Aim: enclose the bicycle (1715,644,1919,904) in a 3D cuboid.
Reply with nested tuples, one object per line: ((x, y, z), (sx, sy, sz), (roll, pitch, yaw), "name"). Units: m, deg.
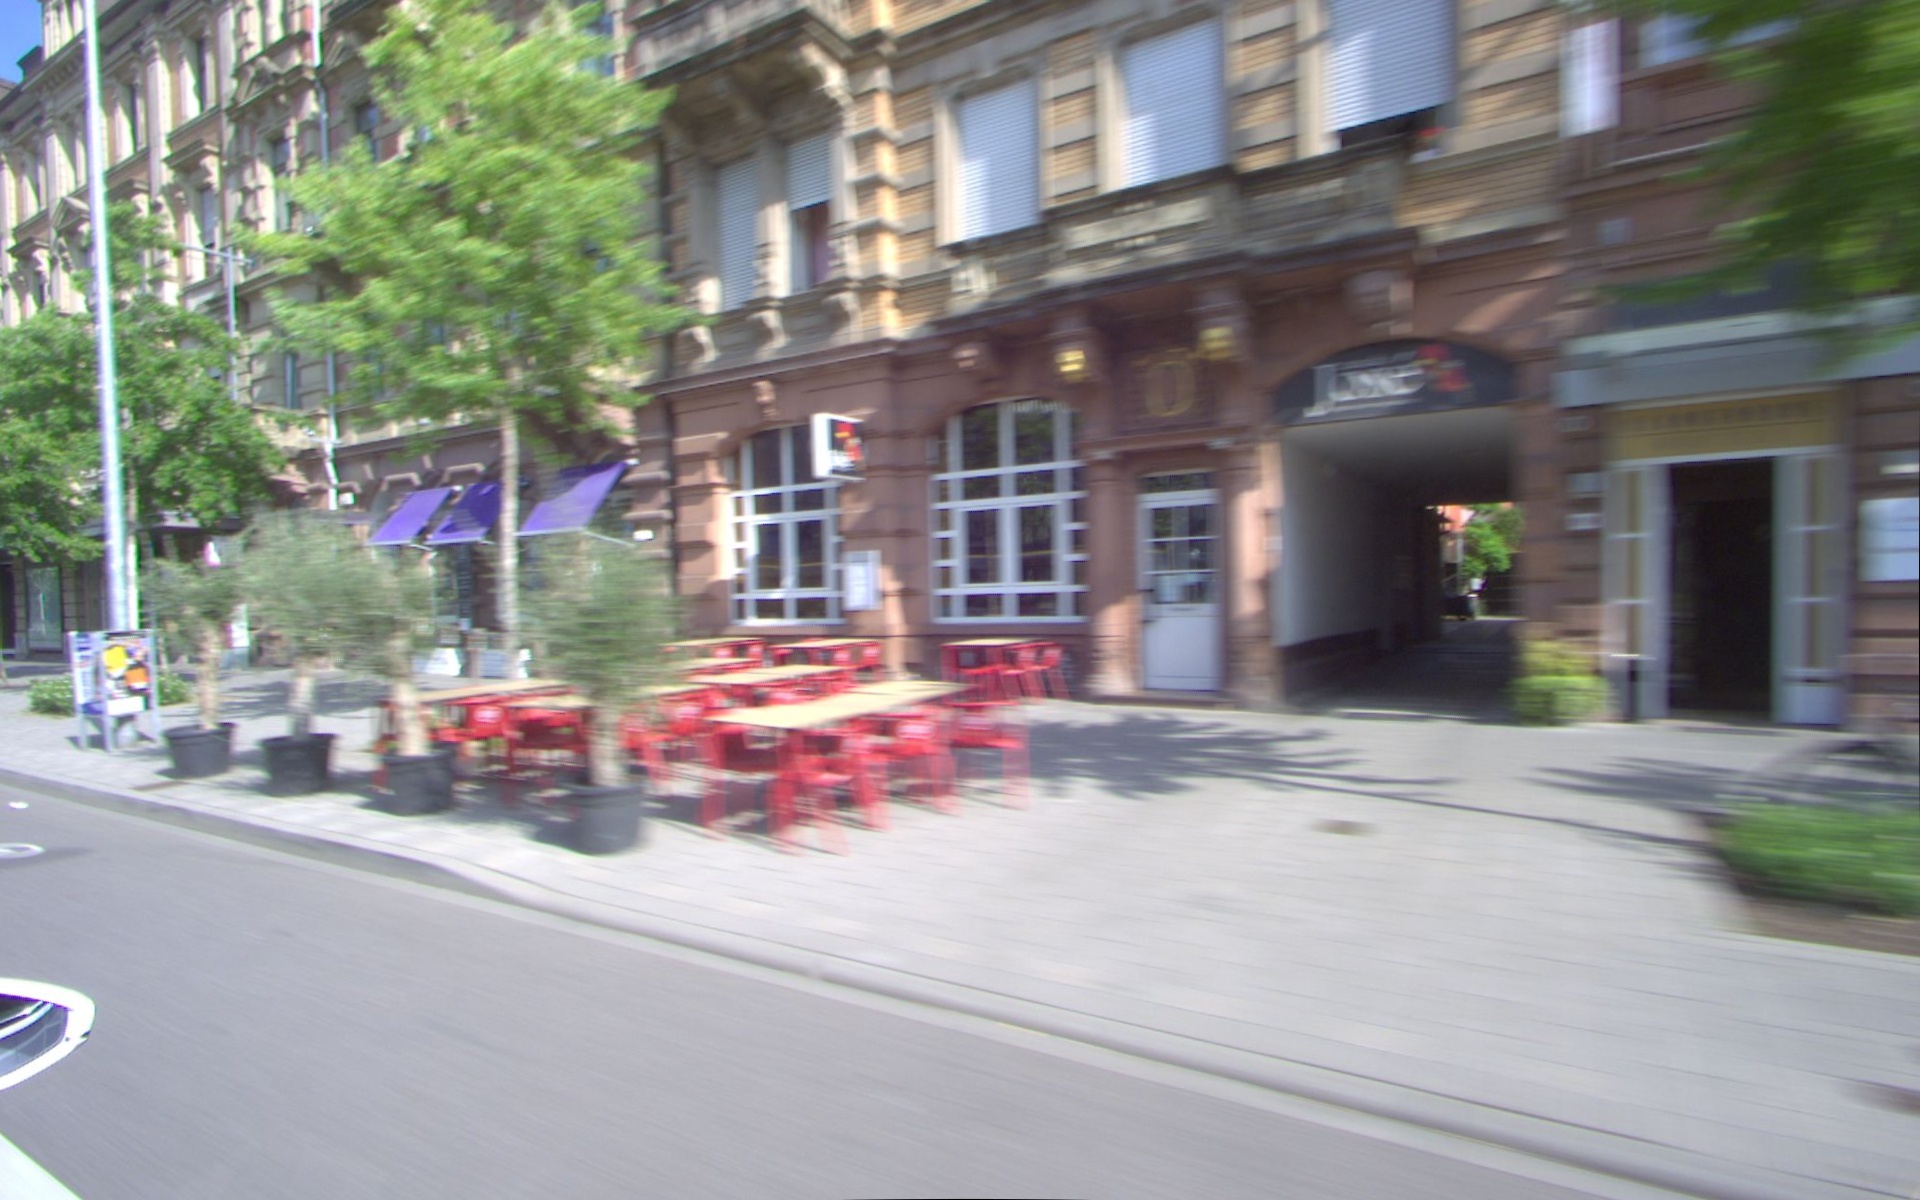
((4.715, 0.786, 4.605), (1.895, 1.137, 0.595), (-1, 0, 26), "bicycle")
